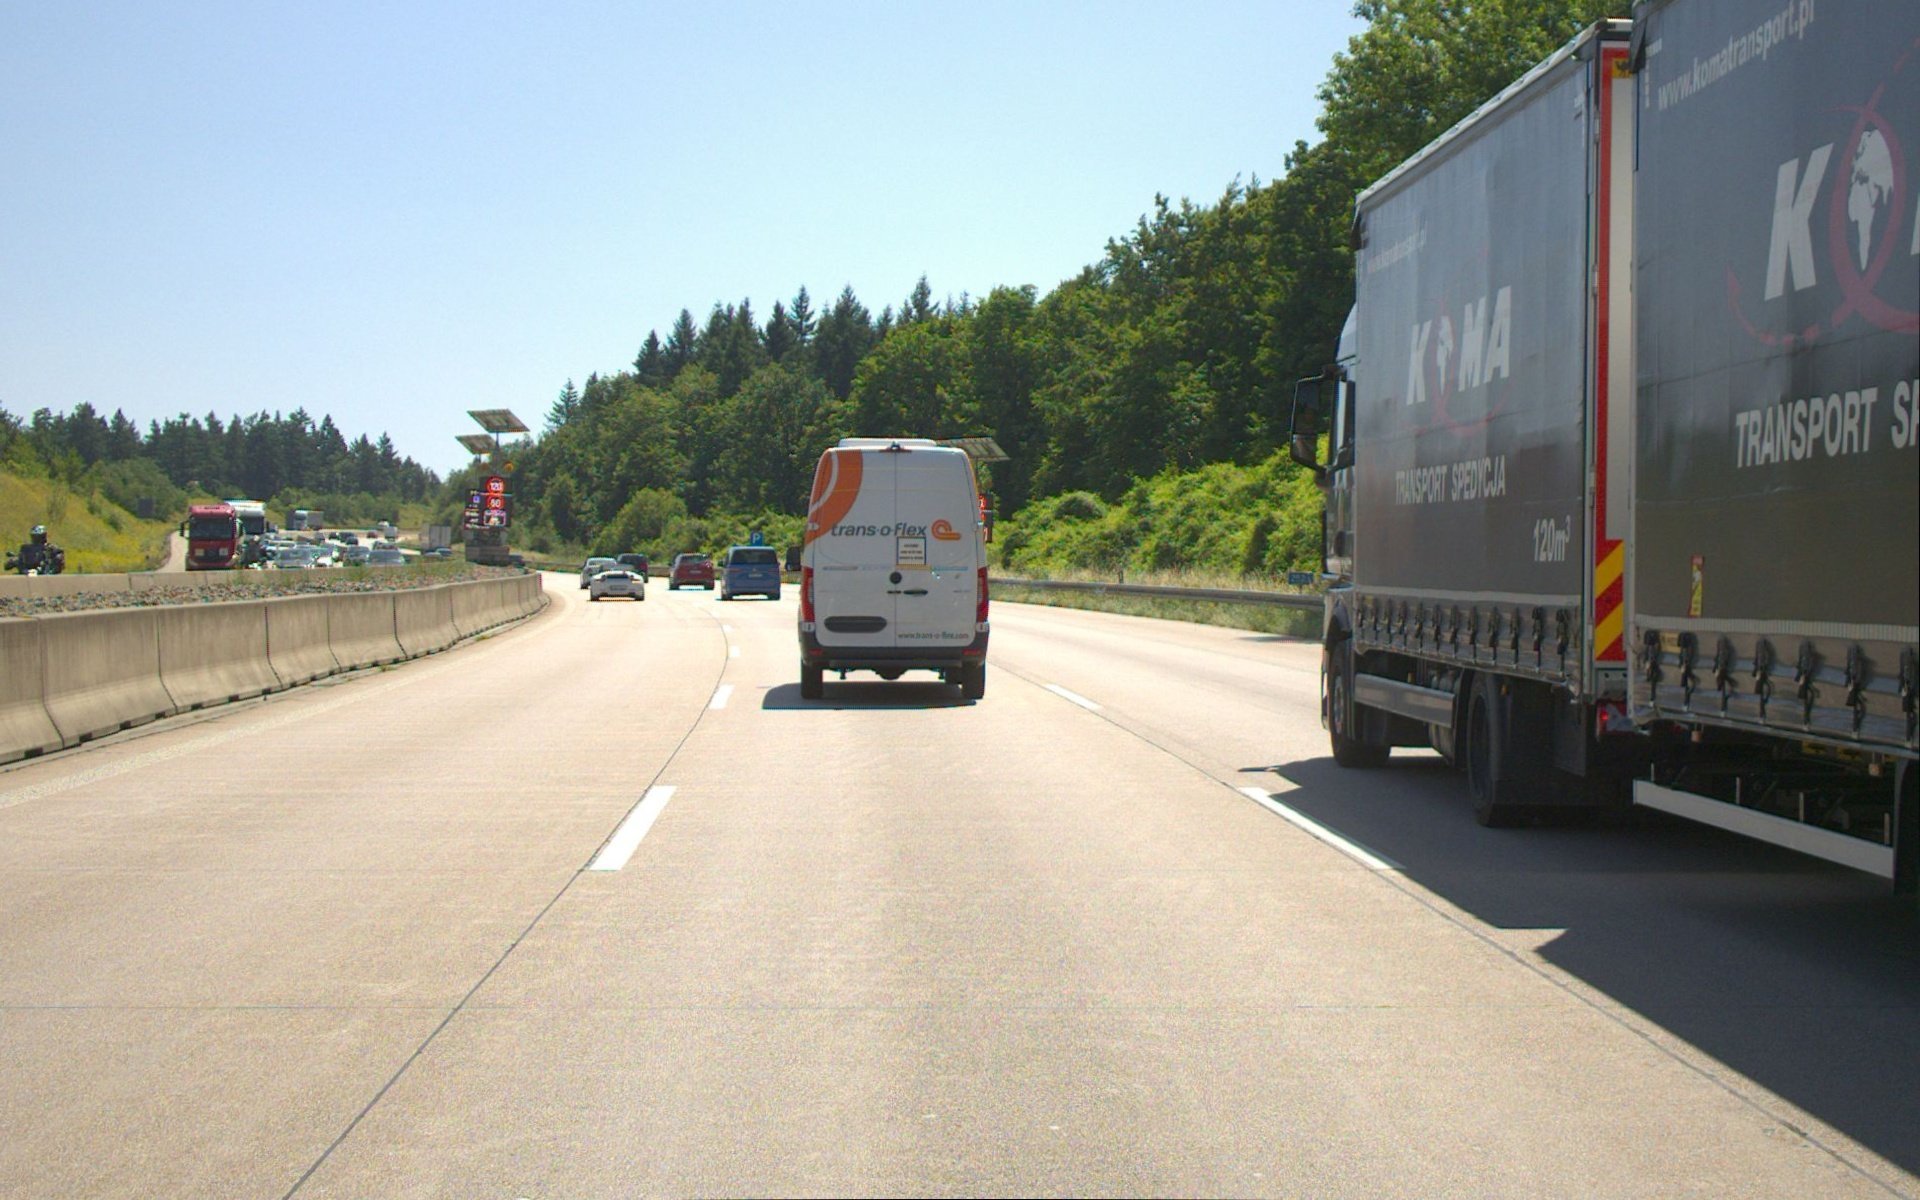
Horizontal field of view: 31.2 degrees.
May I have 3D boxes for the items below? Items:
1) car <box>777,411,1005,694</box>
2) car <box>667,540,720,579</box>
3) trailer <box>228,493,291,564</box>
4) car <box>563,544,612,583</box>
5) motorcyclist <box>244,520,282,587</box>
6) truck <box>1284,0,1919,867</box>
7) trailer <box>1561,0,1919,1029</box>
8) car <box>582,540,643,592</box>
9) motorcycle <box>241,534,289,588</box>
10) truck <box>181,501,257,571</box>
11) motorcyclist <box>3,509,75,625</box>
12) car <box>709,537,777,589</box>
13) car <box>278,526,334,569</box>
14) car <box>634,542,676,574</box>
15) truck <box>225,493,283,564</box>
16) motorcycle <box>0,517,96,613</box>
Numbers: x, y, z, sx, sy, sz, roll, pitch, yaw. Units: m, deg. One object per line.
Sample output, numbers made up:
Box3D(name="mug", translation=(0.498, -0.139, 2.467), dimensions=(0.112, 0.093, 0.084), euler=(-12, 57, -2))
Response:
Box3D(name="car", translation=(-0.842, -0.543, 37.455), dimensions=(2.226, 2.834, 5.455), euler=(1, 1, -4))
Box3D(name="car", translation=(-12.036, -1.821, 154.927), dimensions=(1.993, 1.678, 4.001), euler=(3, 0, -9))
Box3D(name="trailer", translation=(-43.861, -4.391, 215.533), dimensions=(2.932, 4.154, 14.392), euler=(3, 0, -9))
Box3D(name="car", translation=(-17.159, -1.666, 158.379), dimensions=(1.993, 1.678, 4.001), euler=(3, 0, -9))
Box3D(name="motorcyclist", translation=(-17.992, -1.203, 88.755), dimensions=(0.692, 1.703, 1.525), euler=(1, 1, -2))
Box3D(name="truck", translation=(4.224, -0.837, 21.204), dimensions=(3.159, 4.003, 10.608), euler=(1, 1, -1))
Box3D(name="trailer", translation=(4.461, -0.704, 11.292), dimensions=(3.134, 4.003, 9.089), euler=(1, 1, -1))
Box3D(name="car", translation=(-12.130, -1.191, 119.733), dimensions=(1.993, 1.678, 4.001), euler=(3, 0, -7))
Box3D(name="motorcycle", translation=(-17.961, -1.021, 88.879), dimensions=(0.824, 1.367, 2.358), euler=(1, 1, -2))
Box3D(name="truck", translation=(-36.193, -3.098, 168.085), dimensions=(2.933, 3.204, 5.906), euler=(3, 0, -7))
Box3D(name="motorcyclist", translation=(-15.132, -0.542, 56.525), dimensions=(0.818, 1.867, 1.492), euler=(1, 1, -2))
Box3D(name="car", translation=(-7.653, -1.299, 120.941), dimensions=(1.993, 1.678, 4.001), euler=(3, 0, -9))
Box3D(name="car", translation=(-27.424, -2.196, 144.248), dimensions=(1.993, 1.766, 4.001), euler=(0, 1, -7))
Box3D(name="car", translation=(-16.978, -2.317, 191.228), dimensions=(1.993, 1.678, 4.001), euler=(3, 0, -9))
Box3D(name="truck", translation=(-42.807, -4.312, 208.507), dimensions=(2.932, 4.154, 5.762), euler=(3, 0, -9))
Box3D(name="motorcycle", translation=(-15.034, -0.583, 56.678), dimensions=(1.008, 1.544, 2.484), euler=(1, 1, -2))
